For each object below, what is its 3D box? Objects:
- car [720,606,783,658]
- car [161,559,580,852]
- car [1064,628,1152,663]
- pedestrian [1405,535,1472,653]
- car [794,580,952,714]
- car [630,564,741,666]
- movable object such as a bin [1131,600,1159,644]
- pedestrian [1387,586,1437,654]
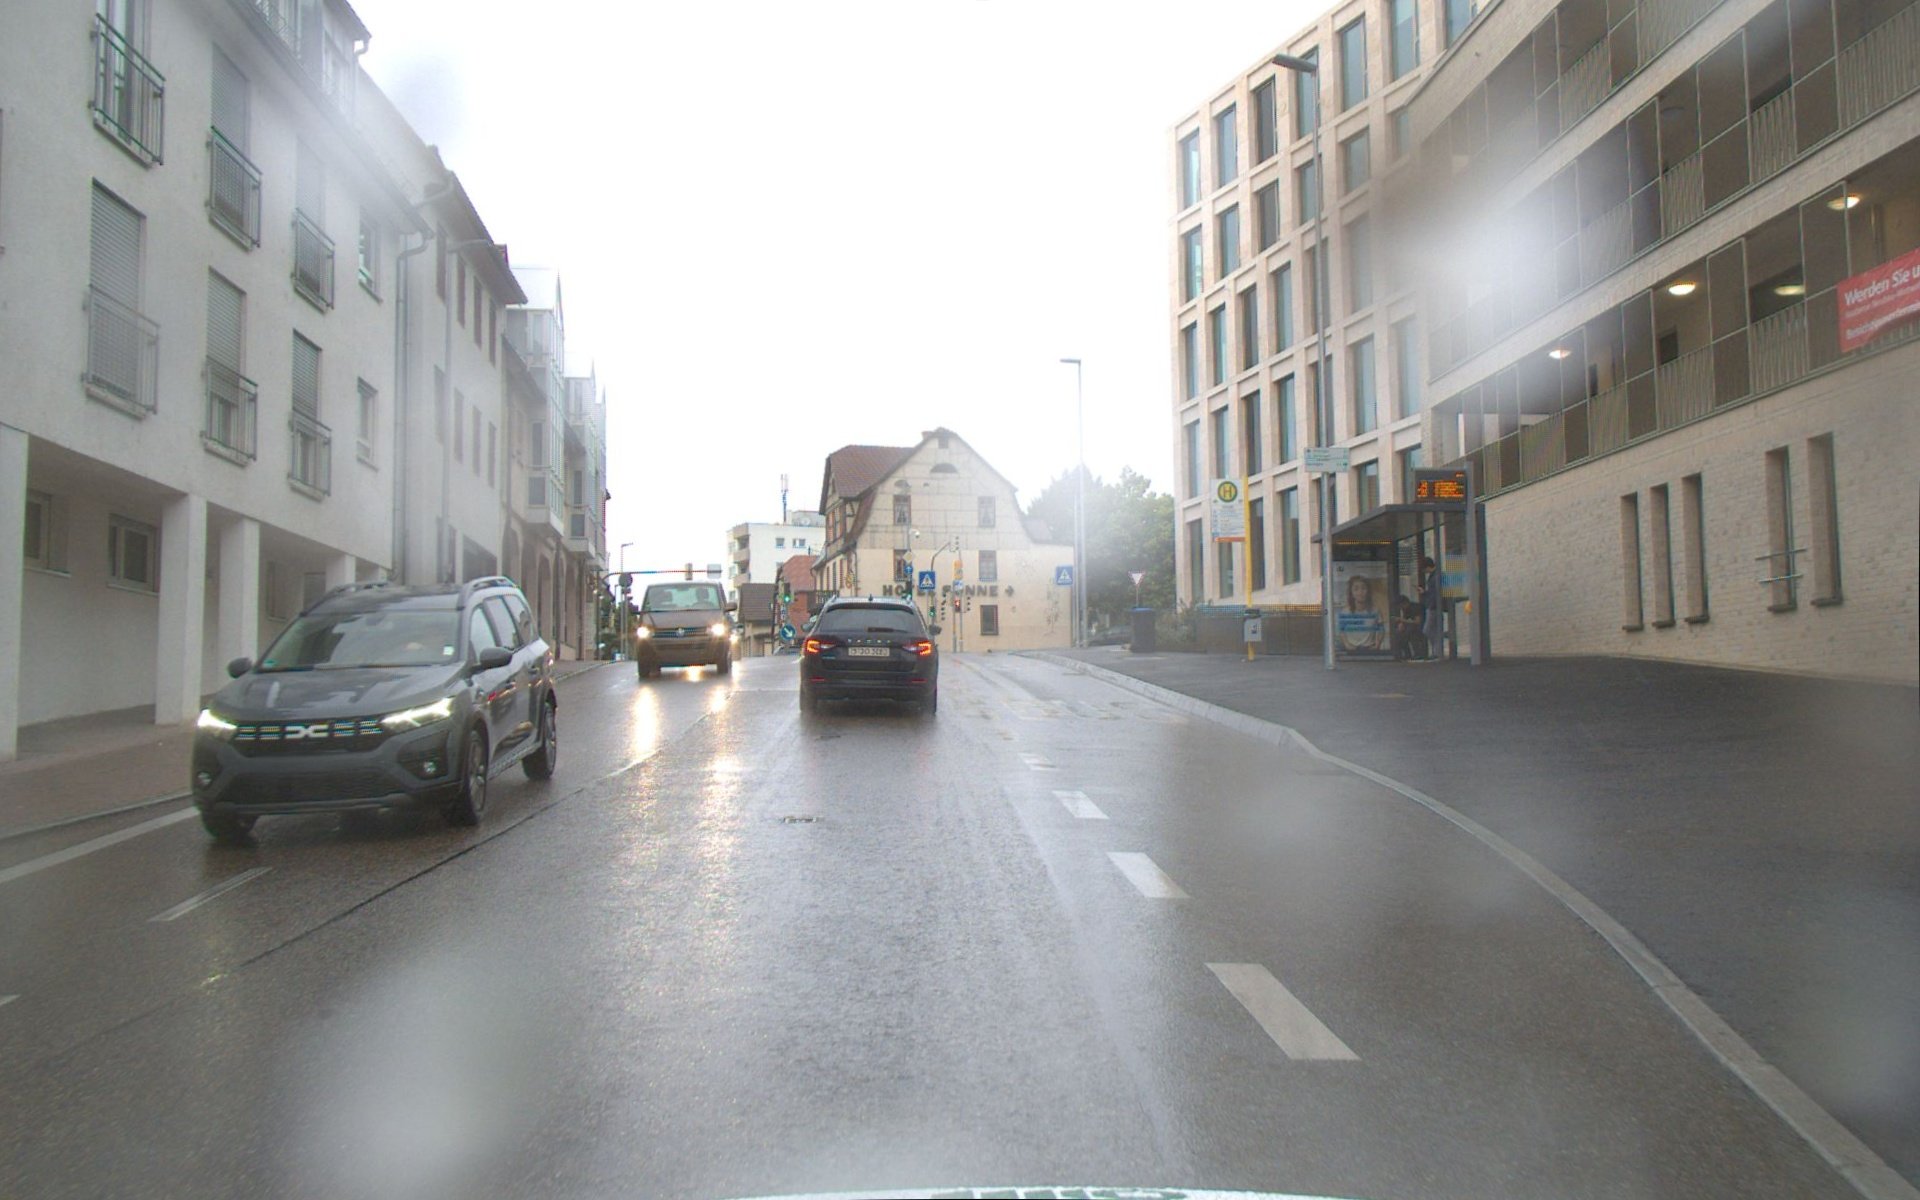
[{"bbox_3d":[-6.293,0.937,50.127,1.654,1.469,3.906,-1,0,-4],"label":"car"},{"bbox_3d":[-4.052,0.632,12.179,1.747,1.723,4.456,-1,0,-4],"label":"car"},{"bbox_3d":[7.875,2.425,88.127,4.235,1.531,1.769,-3,-5,-18],"label":"car"},{"bbox_3d":[8.276,-0.096,28.631,0.766,1.974,1.021,-3,0,-1],"label":"pedestrian"},{"bbox_3d":[-1.214,0.575,22.337,1.906,1.594,4.413,-1,0,-4],"label":"car"},{"bbox_3d":[-5.786,0.307,35.434,1.894,1.941,5.037,-2,0,-5],"label":"car"},{"bbox_3d":[4.591,0.538,40.967,0.583,1.081,0.578,-1,0,-2],"label":"movable object such as a bin"},{"bbox_3d":[8.170,0.353,29.901,0.658,1.182,0.635,-3,0,-2],"label":"pedestrian"}]
